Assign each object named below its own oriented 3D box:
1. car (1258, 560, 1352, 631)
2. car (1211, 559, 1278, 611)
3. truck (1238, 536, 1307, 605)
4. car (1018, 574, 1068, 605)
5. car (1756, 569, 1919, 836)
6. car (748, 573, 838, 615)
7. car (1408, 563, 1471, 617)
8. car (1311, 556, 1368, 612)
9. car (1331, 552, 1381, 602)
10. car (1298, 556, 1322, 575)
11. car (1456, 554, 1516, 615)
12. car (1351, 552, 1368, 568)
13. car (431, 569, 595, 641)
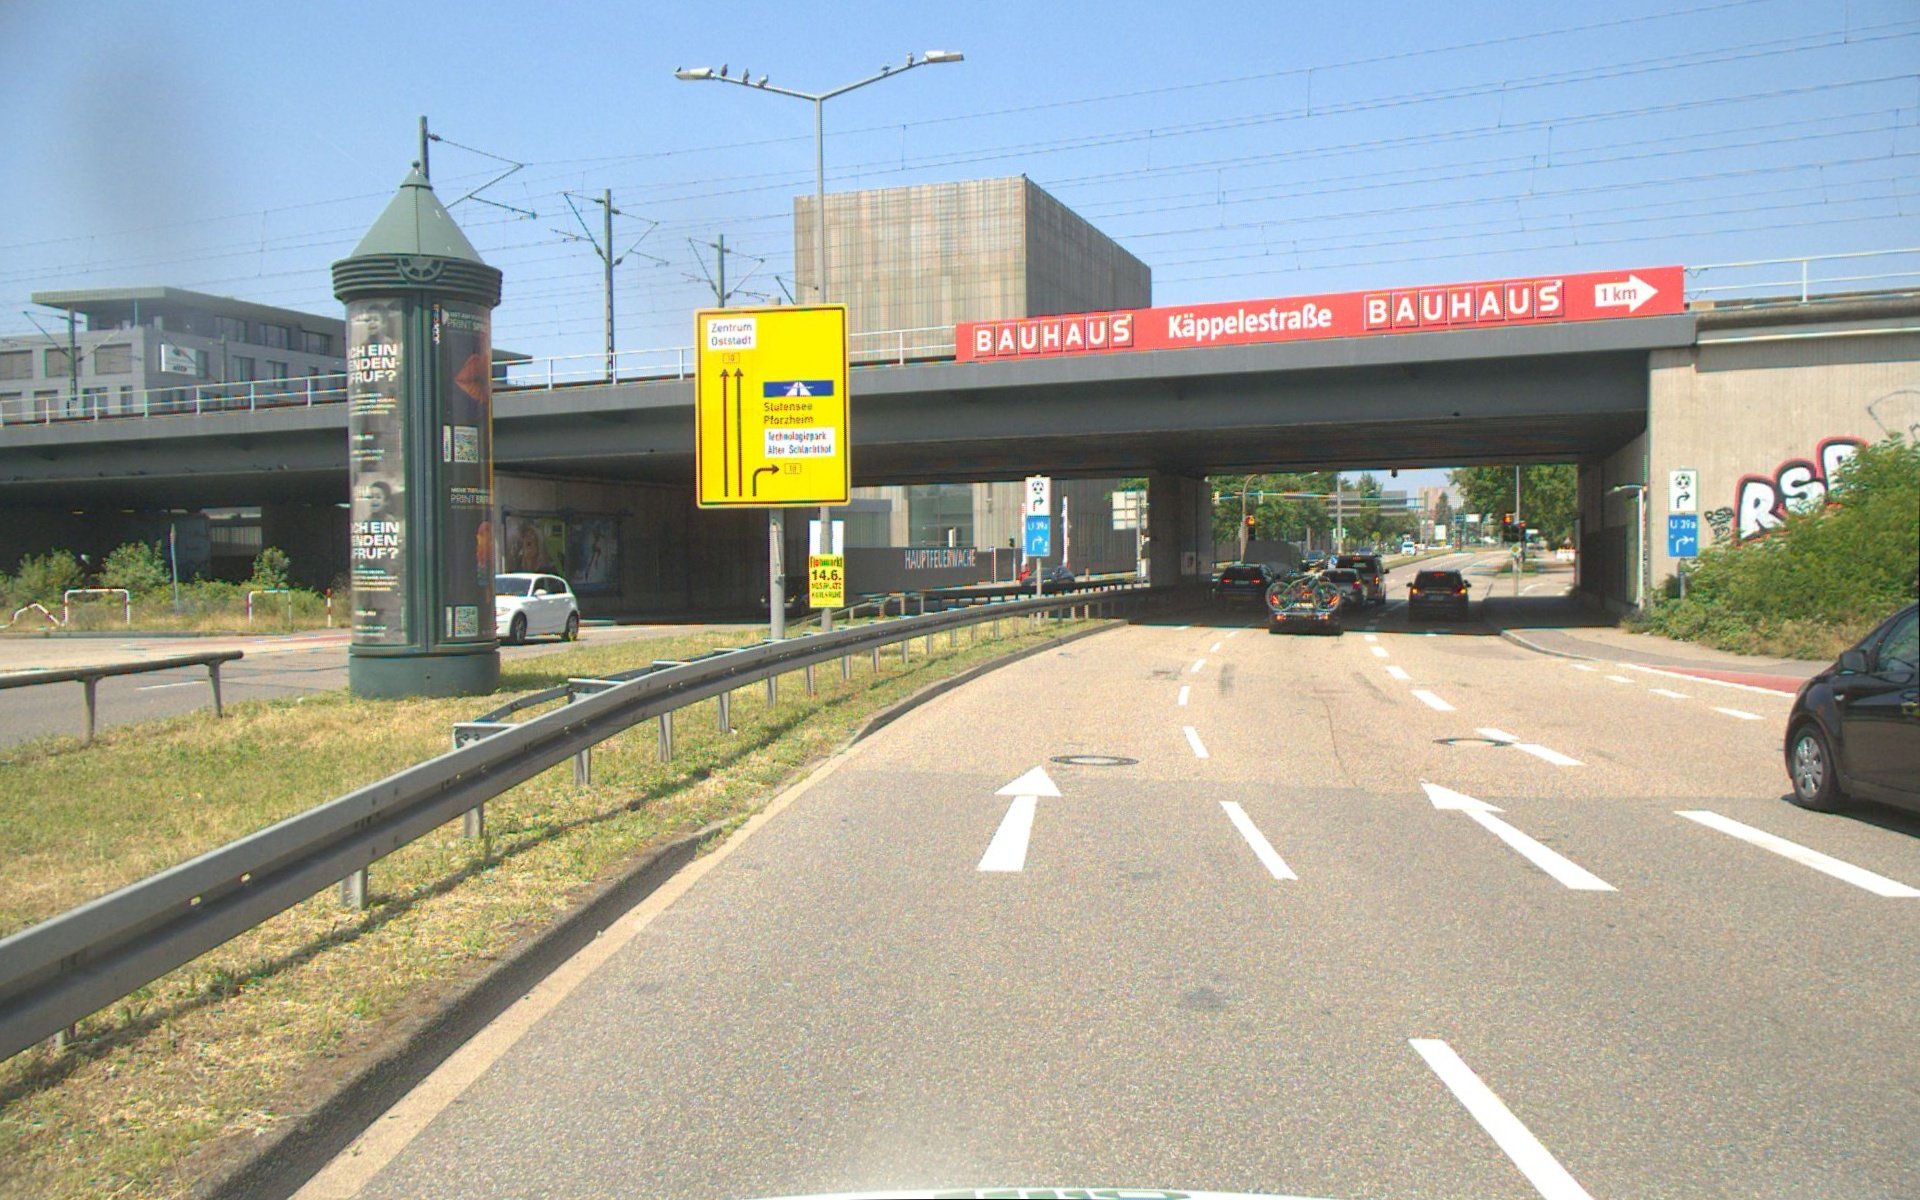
[{"bbox_3d":[8.625,-0.132,41.058,1.915,1.662,4.283,0,1,17],"label":"car"},{"bbox_3d":[9.946,-0.531,57.690,1.899,1.751,4.003,0,0,16],"label":"car"},{"bbox_3d":[12.304,-1.158,64.978,2.024,2.582,4.001,-1,0,19],"label":"truck"},{"bbox_3d":[4.601,-0.586,91.207,1.815,1.651,4.003,0,0,17],"label":"car"},{"bbox_3d":[6.744,0.627,10.271,1.730,1.627,4.079,0,1,2],"label":"car"},{"bbox_3d":[-6.202,-0.208,61.898,1.951,1.466,4.002,-2,-1,16],"label":"car"},{"bbox_3d":[14.757,-0.308,51.002,1.801,1.596,4.003,0,0,15],"label":"car"},{"bbox_3d":[13.724,-0.575,59.700,1.801,1.923,4.003,0,0,15],"label":"car"},{"bbox_3d":[15.765,-0.919,65.767,1.801,1.923,4.003,0,0,15],"label":"car"},{"bbox_3d":[30.147,-2.953,142.483,1.815,1.651,4.003,0,0,15],"label":"car"},{"bbox_3d":[19.016,-0.564,59.909,1.951,2.049,4.003,-2,0,17],"label":"car"},{"bbox_3d":[44.584,-4.471,184.523,1.815,1.651,4.003,0,0,15],"label":"car"},{"bbox_3d":[-9.219,0.071,34.464,1.619,1.403,4.221,0,0,10],"label":"car"}]
